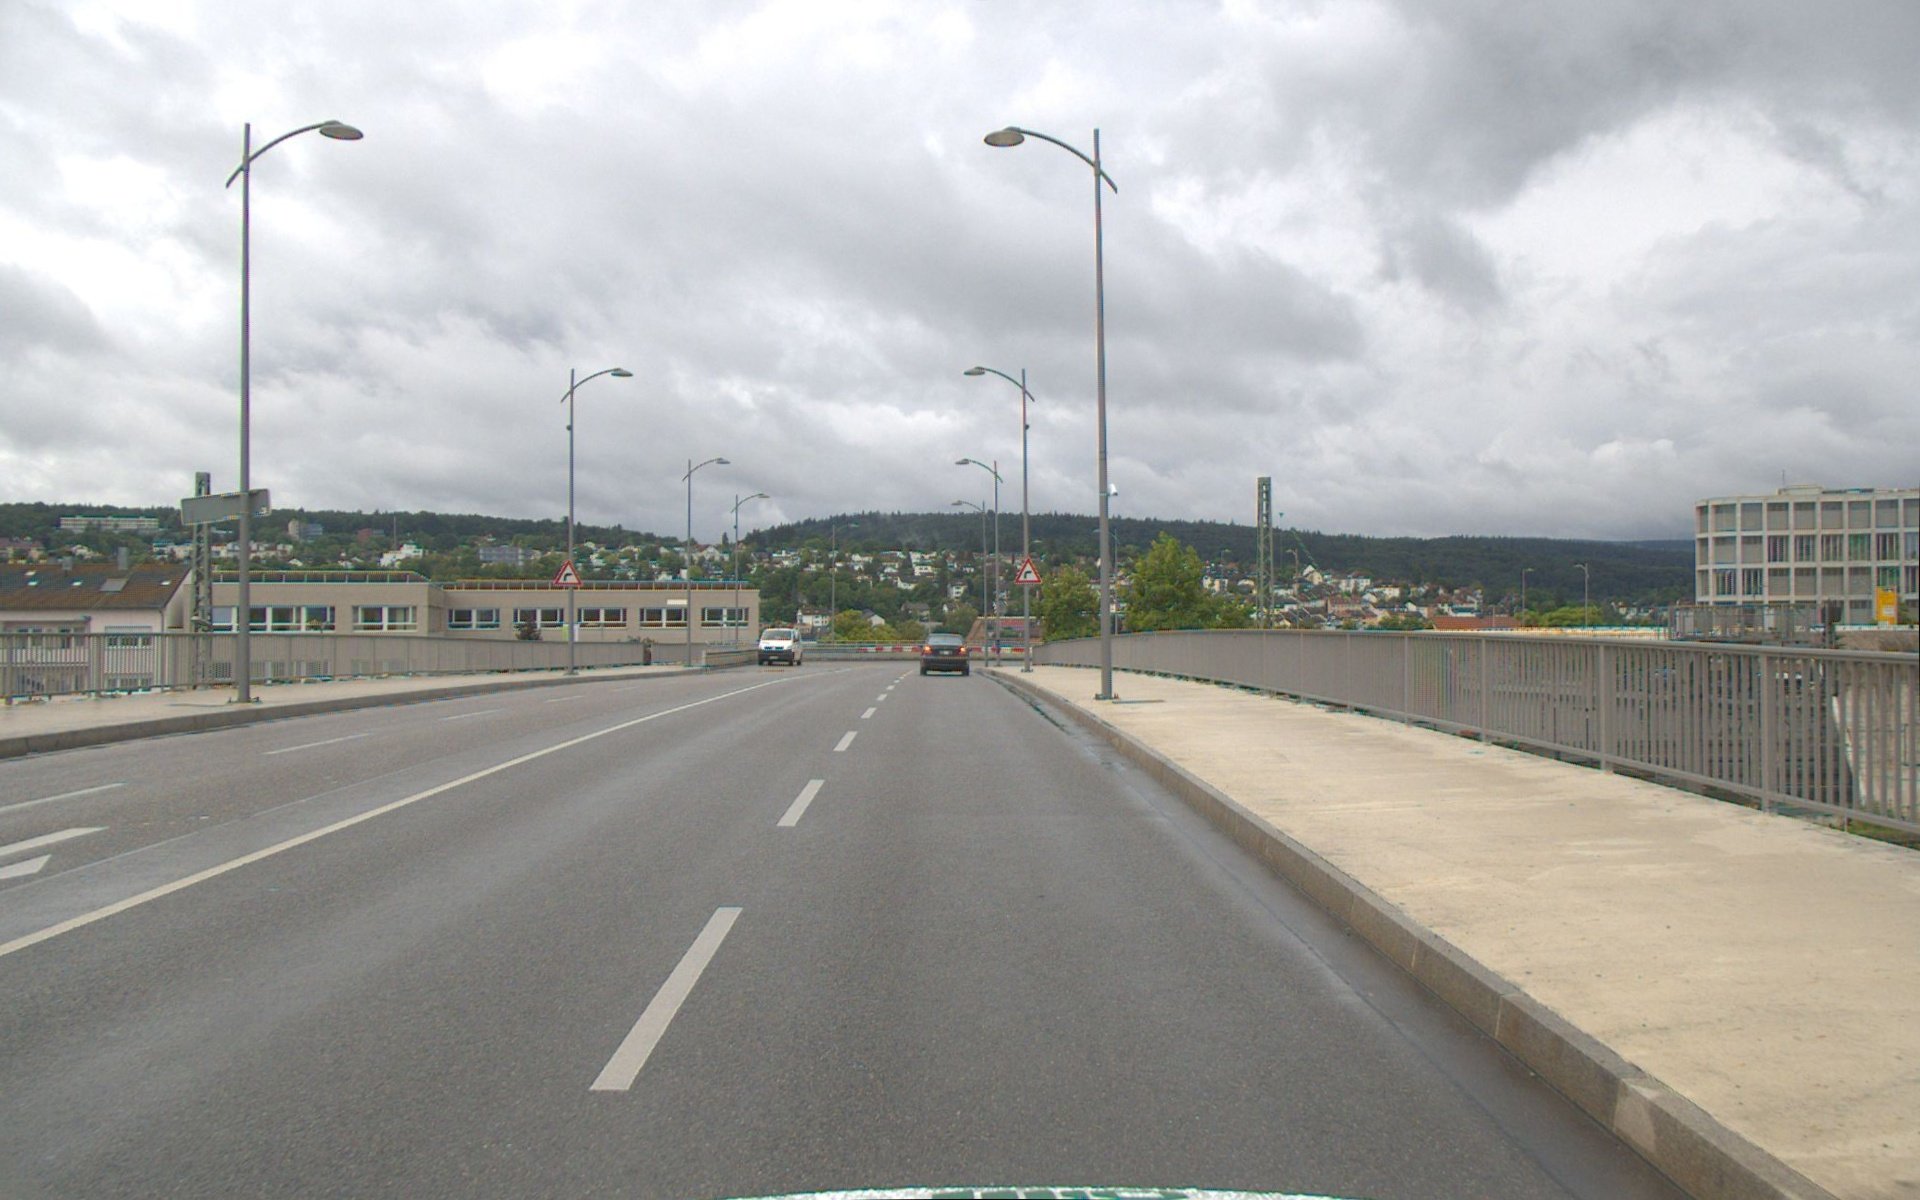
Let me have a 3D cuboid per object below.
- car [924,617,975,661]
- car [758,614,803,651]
[{"bbox_3d":[-0.394,1.363,56.725,1.671,1.444,3.724,1,-2,-2],"label":"car"},{"bbox_3d":[-9.608,1.773,89.002,1.848,1.854,4.957,0,-2,0],"label":"car"}]
